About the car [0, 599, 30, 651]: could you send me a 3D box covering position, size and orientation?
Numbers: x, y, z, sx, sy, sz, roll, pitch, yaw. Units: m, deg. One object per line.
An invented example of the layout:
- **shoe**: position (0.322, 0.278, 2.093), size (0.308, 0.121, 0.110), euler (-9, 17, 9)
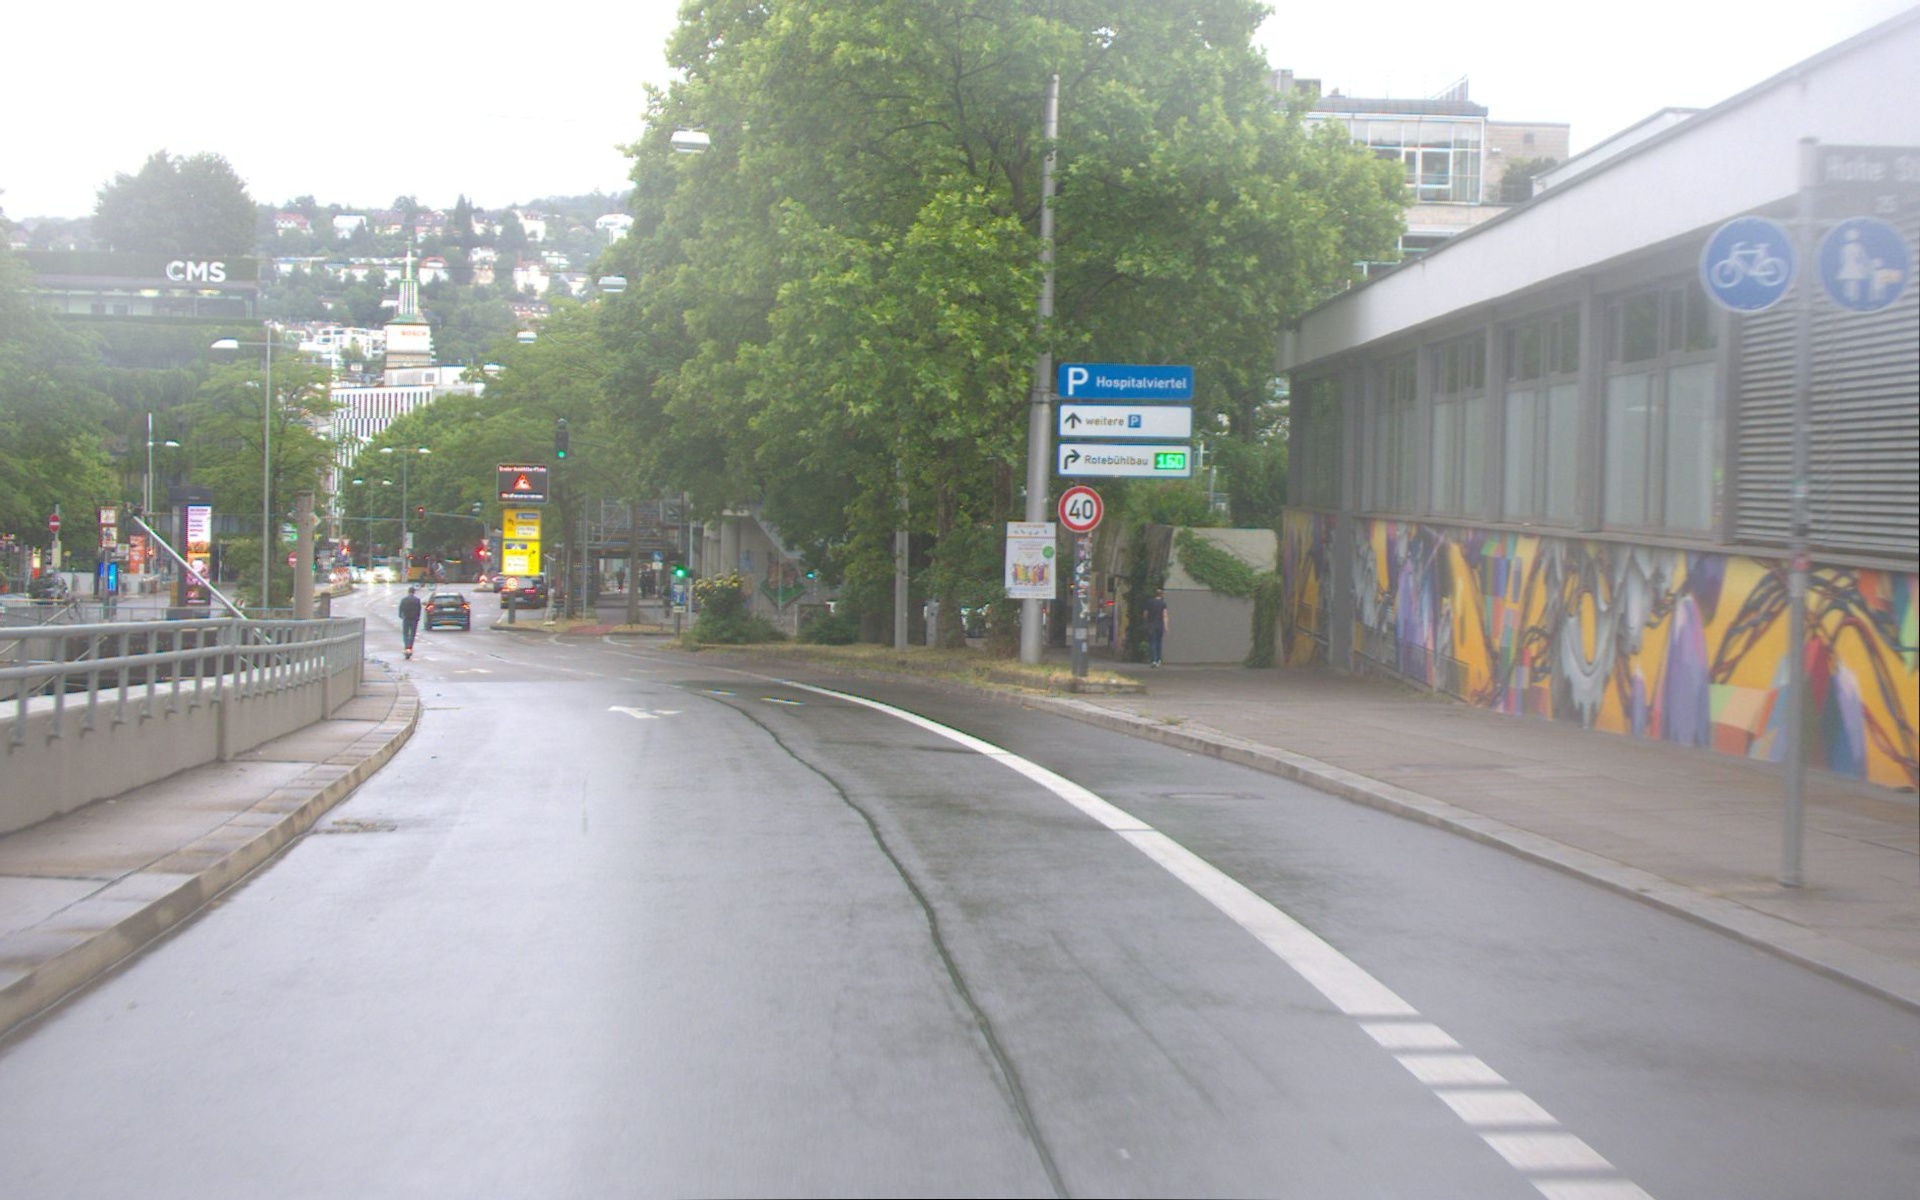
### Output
- **car**: position (-34.897, 0.885, 124.628), size (1.836, 1.707, 4.579), euler (1, 2, -10)

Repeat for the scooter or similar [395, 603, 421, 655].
- **scooter or similar**: position (-15.250, 0.798, 94.977), size (0.546, 1.414, 1.956), euler (1, 0, -13)

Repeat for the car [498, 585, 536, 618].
- **car**: position (-23.432, 0.066, 181.831), size (1.901, 1.678, 3.911), euler (1, 0, -7)

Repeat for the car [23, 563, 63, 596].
- **car**: position (-47.146, -1.066, 176.875), size (1.780, 1.550, 3.895), euler (1, 2, -12)

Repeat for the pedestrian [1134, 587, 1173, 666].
- **pedestrian**: position (4.577, 0.619, 81.272), size (0.807, 1.858, 1.056), euler (-1, 0, -2)

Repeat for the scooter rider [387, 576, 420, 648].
- **scooter rider**: position (-15.389, 0.329, 95.028), size (0.808, 1.941, 0.822), euler (1, 0, -13)

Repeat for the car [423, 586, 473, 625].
- **car**: position (-20.762, 0.209, 139.276), size (1.745, 1.514, 4.108), euler (1, 0, -12)
